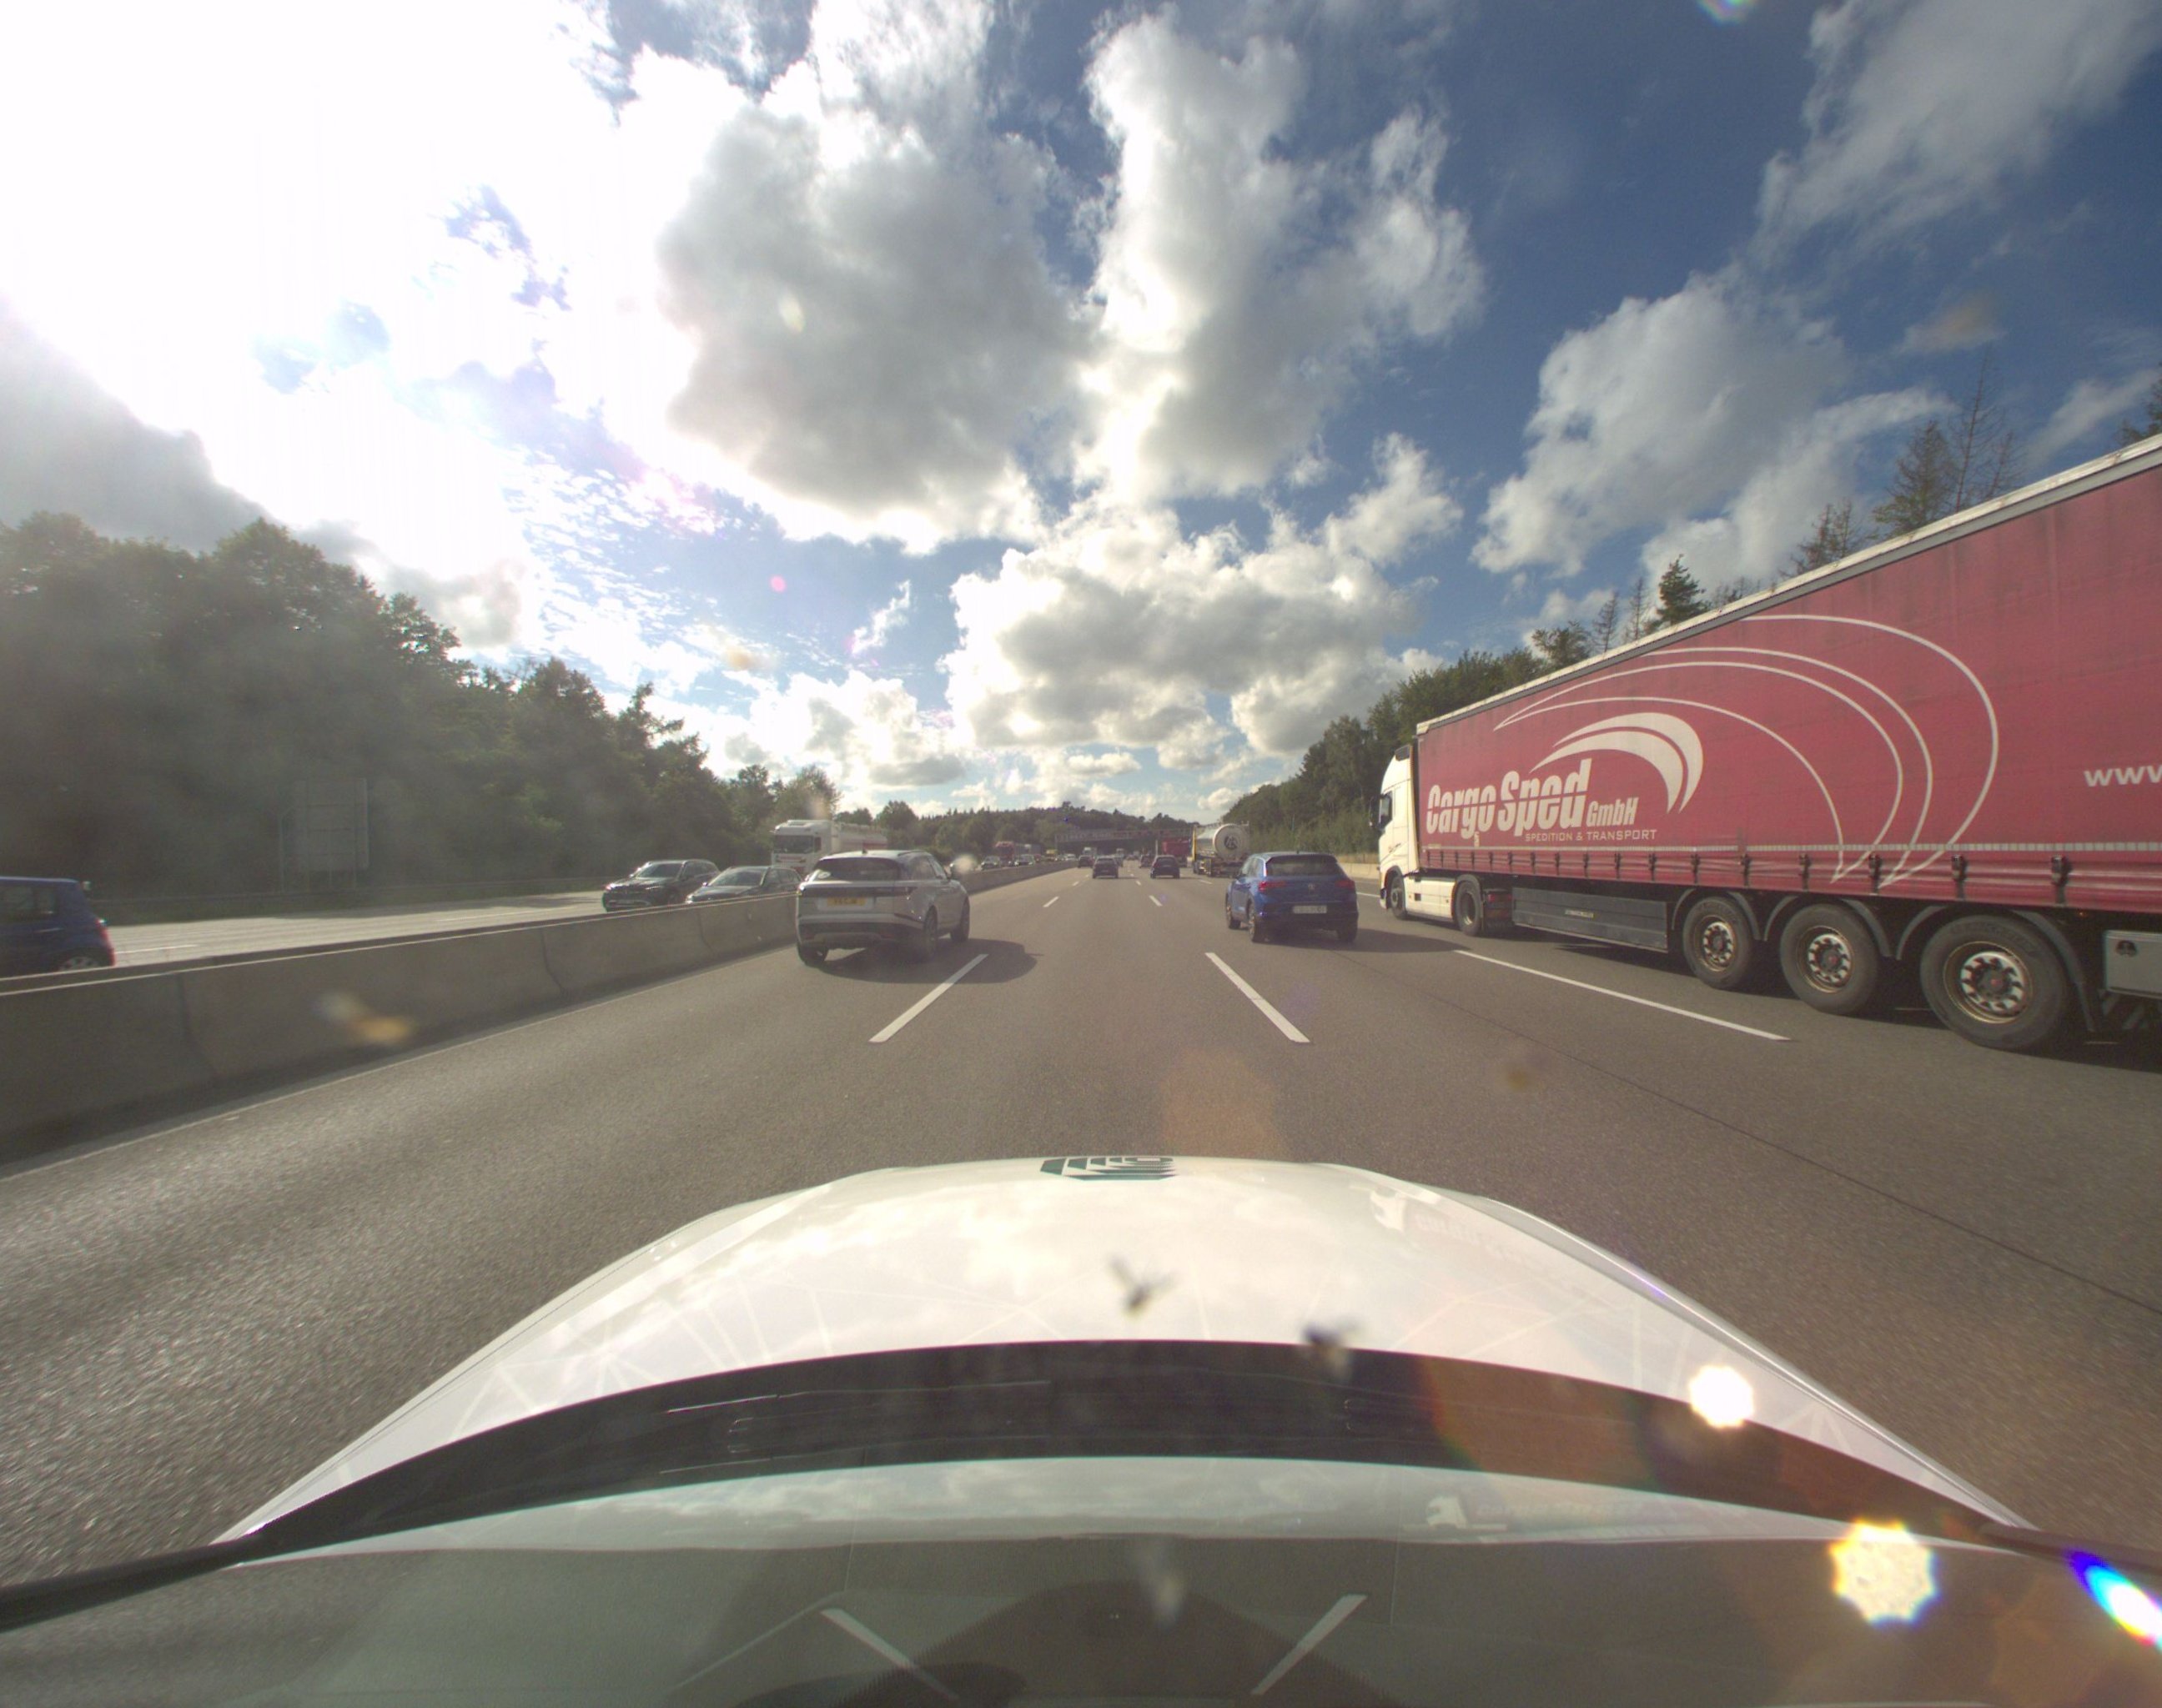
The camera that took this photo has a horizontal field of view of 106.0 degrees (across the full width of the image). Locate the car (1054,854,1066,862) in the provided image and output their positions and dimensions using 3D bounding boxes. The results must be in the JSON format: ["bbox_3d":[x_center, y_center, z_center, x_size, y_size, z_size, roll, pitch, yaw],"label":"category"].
[{"bbox_3d":[-4.469,0.777,172.947,1.835,1.596,4.920,-2,0,5],"label":"car"}]

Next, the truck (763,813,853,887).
[{"bbox_3d":[-15.724,-0.226,47.424,2.776,3.945,6.450,-1,0,3],"label":"truck"}]

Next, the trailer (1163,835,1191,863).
[{"bbox_3d":[11.673,-0.605,99.493,2.699,3.231,9.739,-1,1,2],"label":"trailer"}]

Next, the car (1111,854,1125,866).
[{"bbox_3d":[4.862,0.749,106.303,1.814,1.457,4.004,-2,0,3],"label":"car"}]

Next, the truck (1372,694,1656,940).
[{"bbox_3d":[8.239,-0.612,16.446,2.763,4.045,5.776,-1,0,2],"label":"truck"}]

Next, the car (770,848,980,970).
[{"bbox_3d":[-3.079,0.733,13.526,1.999,1.616,5.303,0,0,1],"label":"car"}]

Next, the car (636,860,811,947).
[{"bbox_3d":[-8.972,1.150,21.038,2.163,1.878,4.982,-2,0,1],"label":"car"}]

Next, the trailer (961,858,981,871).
[{"bbox_3d":[-12.938,1.198,96.091,1.528,1.402,4.184,-1,0,4],"label":"trailer"}]

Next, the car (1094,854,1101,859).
[{"bbox_3d":[4.993,0.663,251.173,1.921,1.457,4.254,-2,0,3],"label":"car"}]

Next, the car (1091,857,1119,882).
[{"bbox_3d":[1.632,1.015,55.171,1.815,1.546,4.002,-1,0,2],"label":"car"}]

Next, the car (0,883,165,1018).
[{"bbox_3d":[-13.348,1.167,9.076,1.622,1.512,4.003,-2,0,3],"label":"car"}]

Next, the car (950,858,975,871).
[{"bbox_3d":[-13.256,1.180,91.669,1.819,1.414,4.679,-2,0,3],"label":"car"}]

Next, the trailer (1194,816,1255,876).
[{"bbox_3d":[9.890,-0.507,57.340,2.638,3.767,11.868,-2,0,3],"label":"trailer"}]

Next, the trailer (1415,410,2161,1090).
[{"bbox_3d":[7.992,-0.637,9.749,2.763,4.045,13.720,-1,0,2],"label":"trailer"}]

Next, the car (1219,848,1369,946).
[{"bbox_3d":[3.816,0.689,15.345,1.766,1.530,4.459,-2,0,2],"label":"car"}]

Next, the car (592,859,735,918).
[{"bbox_3d":[-12.881,0.990,25.518,1.853,1.619,4.750,-2,0,2],"label":"car"}]

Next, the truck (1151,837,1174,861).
[{"bbox_3d":[13.783,-0.840,138.040,3.107,3.935,10.415,-2,0,2],"label":"truck"}]

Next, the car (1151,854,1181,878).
[{"bbox_3d":[5.559,0.752,53.537,1.814,1.457,4.004,-2,0,4],"label":"car"}]

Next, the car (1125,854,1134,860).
[{"bbox_3d":[12.400,0.736,207.202,2.070,1.457,4.000,-2,0,1],"label":"car"}]

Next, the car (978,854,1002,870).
[{"bbox_3d":[-10.103,0.871,90.433,1.986,1.664,4.688,-2,0,1],"label":"car"}]

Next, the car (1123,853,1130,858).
[{"bbox_3d":[13.794,0.325,245.377,1.921,1.457,4.395,-2,0,3],"label":"car"}]

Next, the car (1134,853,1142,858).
[{"bbox_3d":[16.063,0.435,229.315,2.070,1.457,4.000,-2,0,1],"label":"car"}]

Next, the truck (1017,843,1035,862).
[{"bbox_3d":[-11.886,-0.265,176.289,2.806,4.094,6.069,-1,0,5],"label":"truck"}]

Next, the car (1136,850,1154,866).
[{"bbox_3d":[7.482,0.427,95.721,1.887,1.857,4.101,0,0,1],"label":"car"}]

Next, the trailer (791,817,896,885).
[{"bbox_3d":[-15.412,-0.170,54.125,2.776,3.945,12.261,-1,0,3],"label":"trailer"}]

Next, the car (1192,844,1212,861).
[{"bbox_3d":[14.239,-0.193,95.672,1.886,1.957,4.103,0,0,2],"label":"car"}]

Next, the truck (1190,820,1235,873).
[{"bbox_3d":[10.158,-0.555,63.376,2.638,3.823,6.086,-2,0,3],"label":"truck"}]

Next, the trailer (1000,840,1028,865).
[{"bbox_3d":[-10.764,-0.186,132.240,2.954,3.858,11.292,-1,0,4],"label":"trailer"}]

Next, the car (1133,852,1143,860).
[{"bbox_3d":[12.044,0.398,171.539,1.935,1.457,4.000,-2,0,1],"label":"car"}]

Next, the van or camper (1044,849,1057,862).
[{"bbox_3d":[-6.738,0.327,183.205,2.365,2.891,6.509,-2,0,2],"label":"van or camper"}]

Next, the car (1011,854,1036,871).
[{"bbox_3d":[-6.279,0.873,89.138,2.147,1.700,5.352,-2,0,1],"label":"car"}]

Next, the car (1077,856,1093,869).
[{"bbox_3d":[0.527,1.038,101.636,1.935,1.457,4.001,-2,0,2],"label":"car"}]

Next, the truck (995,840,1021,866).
[{"bbox_3d":[-11.247,-0.181,125.947,2.954,3.858,6.771,-1,0,4],"label":"truck"}]

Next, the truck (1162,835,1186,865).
[{"bbox_3d":[11.881,-0.560,104.460,2.699,3.718,5.821,-1,0,2],"label":"truck"}]
